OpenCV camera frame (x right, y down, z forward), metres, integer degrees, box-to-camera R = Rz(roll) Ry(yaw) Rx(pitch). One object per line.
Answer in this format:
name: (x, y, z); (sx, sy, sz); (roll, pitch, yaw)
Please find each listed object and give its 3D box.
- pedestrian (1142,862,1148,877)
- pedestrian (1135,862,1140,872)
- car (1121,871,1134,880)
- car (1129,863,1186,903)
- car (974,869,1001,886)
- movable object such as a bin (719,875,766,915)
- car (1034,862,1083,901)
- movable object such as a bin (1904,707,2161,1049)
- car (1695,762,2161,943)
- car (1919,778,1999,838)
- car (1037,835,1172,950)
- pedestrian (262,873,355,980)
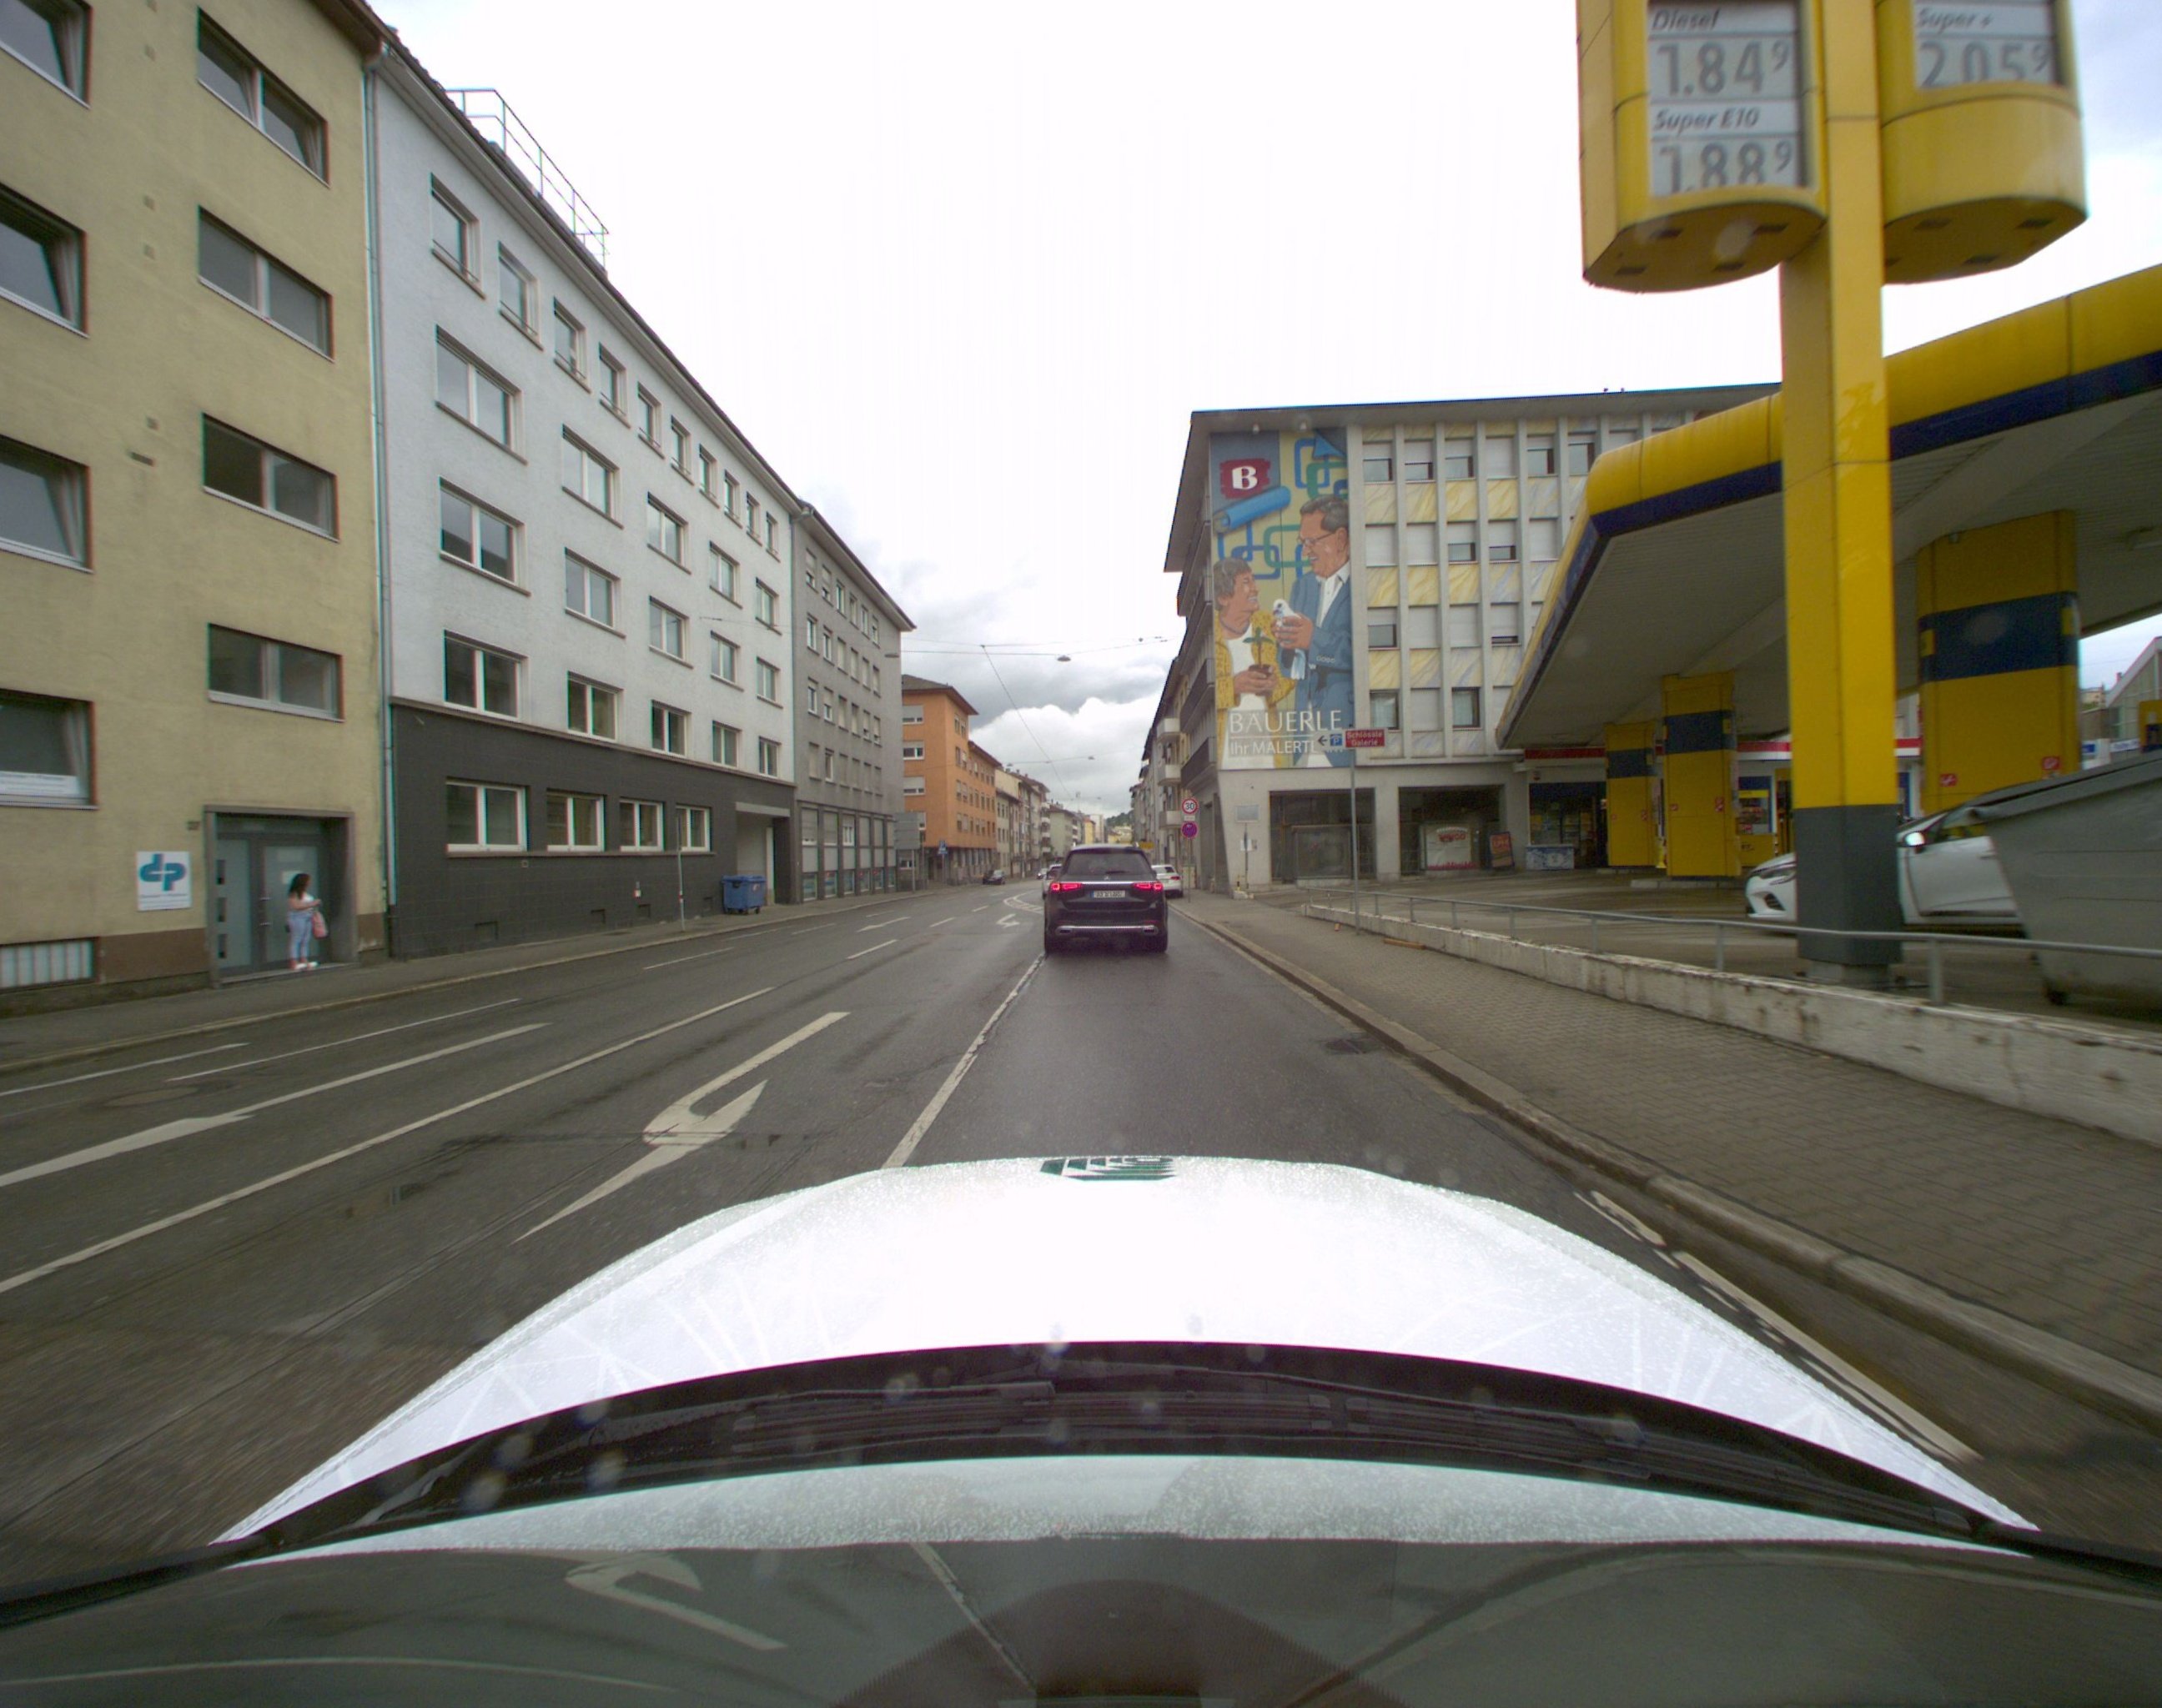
pedestrian: (7.706, 1.851, 98.013); (0.652, 1.752, 0.743); (-3, -1, 7)
pedestrian: (8.859, 2.066, 128.388); (0.817, 1.565, 0.901); (0, -1, 5)
car: (7.101, 3.281, 124.963); (1.728, 1.388, 4.583); (0, -1, 1)
car: (3.221, 1.168, 34.998); (1.887, 1.402, 4.607); (-6, -1, 0)
car: (-8.520, 2.121, 74.187); (1.885, 1.459, 4.549); (0, -1, 0)
movable object such as a bin: (-11.566, 1.393, 27.843); (1.072, 1.324, 1.191); (0, -1, 2)
car: (-0.890, 1.096, 34.365); (1.887, 1.510, 4.172); (1, -1, 0)
movable object such as a bin: (6.043, 0.077, 3.999); (2.147, 1.574, 1.774); (-2, -1, 2)
car: (8.559, 0.025, 7.827); (1.756, 1.442, 3.950); (-2, -2, -44)
car: (59.085, -3.012, 54.939); (2.353, 3.688, 5.025); (0, -1, 32)
car: (0.435, 0.604, 14.828); (2.068, 1.765, 4.613); (0, 0, 2)
pedestrian: (-12.673, 1.159, 13.384); (0.714, 1.689, 0.812); (0, -1, 4)
